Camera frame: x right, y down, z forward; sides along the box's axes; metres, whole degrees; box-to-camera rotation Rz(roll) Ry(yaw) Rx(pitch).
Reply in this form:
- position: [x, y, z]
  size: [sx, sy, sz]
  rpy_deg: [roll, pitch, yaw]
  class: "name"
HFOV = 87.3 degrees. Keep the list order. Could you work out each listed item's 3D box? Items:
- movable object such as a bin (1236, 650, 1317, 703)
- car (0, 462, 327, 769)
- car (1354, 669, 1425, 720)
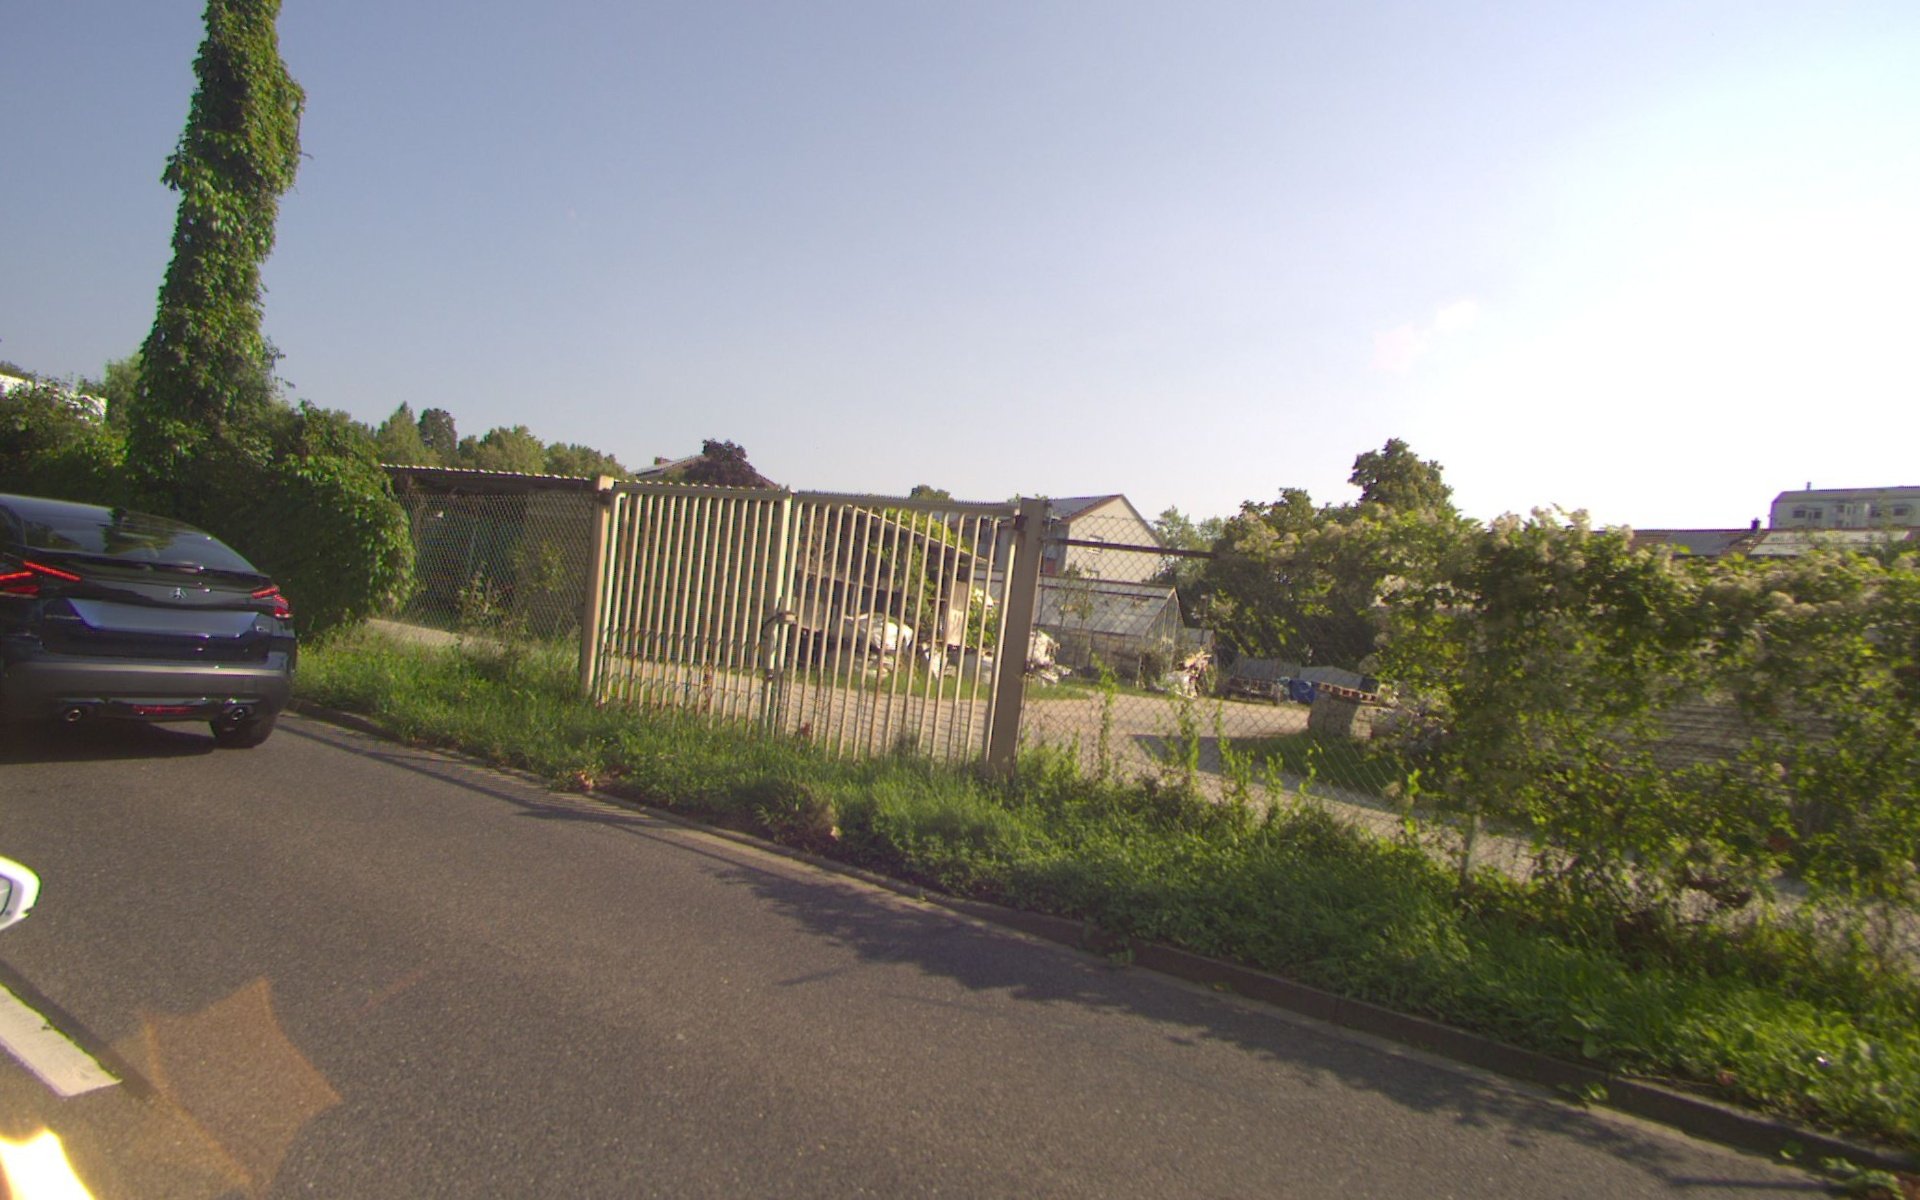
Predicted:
- position: [13.404, 3.214, 42.601]
  size: [2.733, 1.841, 1.513]
  rpy_deg: [6, -1, 40]
  class: "movable object such as a bin"
- position: [-6.458, -0.035, 6.954]
  size: [4.183, 1.607, 1.648]
  rpy_deg: [6, -1, 30]
  class: "car"
- position: [16.847, 3.715, 39.401]
  size: [1.750, 1.688, 3.752]
  rpy_deg: [6, -2, 34]
  class: "car"
